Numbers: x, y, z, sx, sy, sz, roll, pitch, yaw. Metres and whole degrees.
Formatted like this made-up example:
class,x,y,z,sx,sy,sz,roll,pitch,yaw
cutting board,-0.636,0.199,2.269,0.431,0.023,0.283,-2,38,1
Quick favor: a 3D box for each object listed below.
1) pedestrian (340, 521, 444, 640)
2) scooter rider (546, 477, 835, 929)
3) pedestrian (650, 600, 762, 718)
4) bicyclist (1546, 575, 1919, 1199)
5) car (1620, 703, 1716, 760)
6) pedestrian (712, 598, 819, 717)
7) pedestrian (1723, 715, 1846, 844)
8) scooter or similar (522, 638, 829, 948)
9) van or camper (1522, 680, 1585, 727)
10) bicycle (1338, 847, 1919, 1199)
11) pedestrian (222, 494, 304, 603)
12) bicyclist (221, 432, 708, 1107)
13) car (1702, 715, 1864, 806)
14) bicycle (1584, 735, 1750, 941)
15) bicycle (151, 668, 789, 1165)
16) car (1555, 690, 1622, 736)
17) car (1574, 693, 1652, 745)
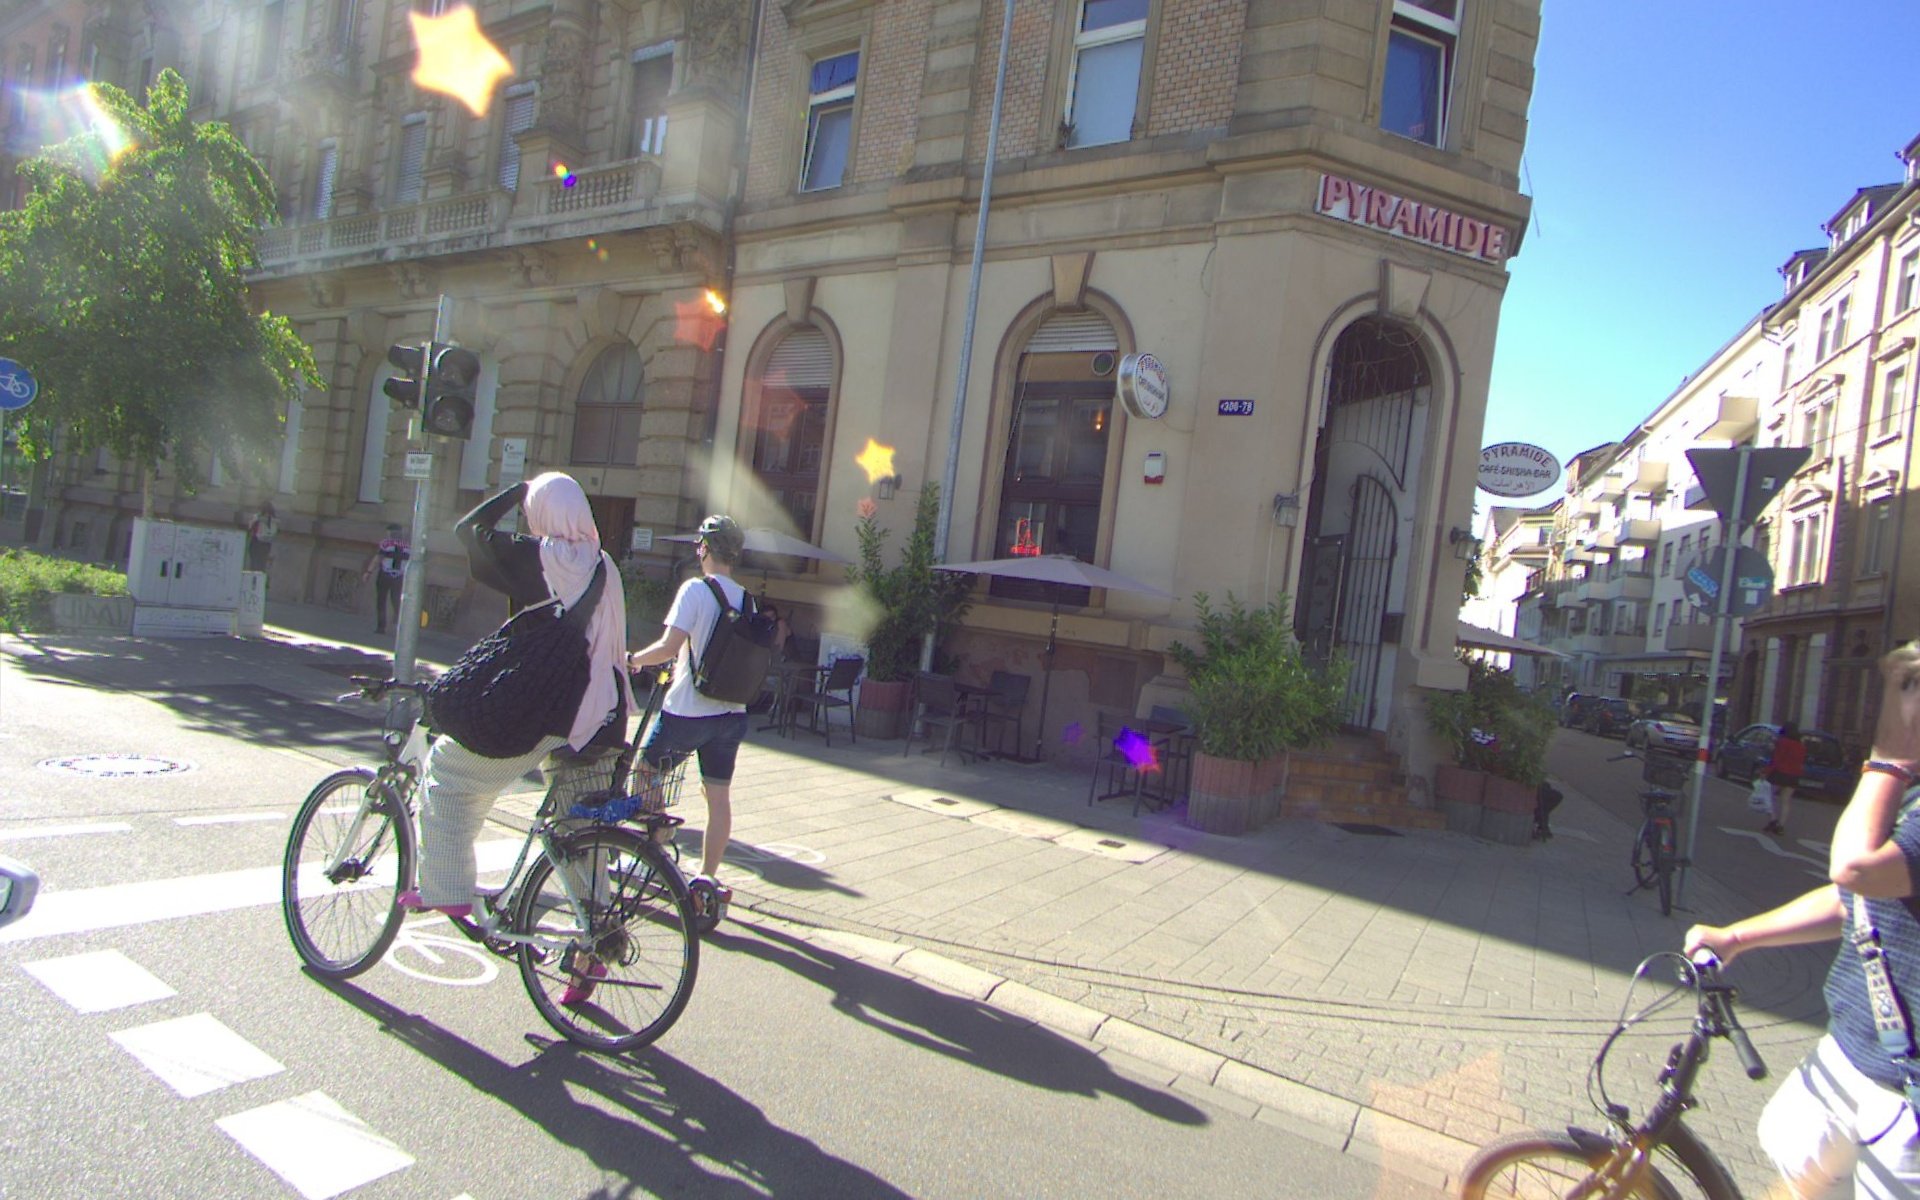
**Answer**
class,x,y,z,sx,sy,sz,roll,pitch,yaw
pedestrian,-8.854,-0.303,15.690,1.097,1.714,0.968,7,2,39
scooter rider,-1.265,0.443,4.776,0.882,1.888,0.663,7,-1,27
pedestrian,-2.854,0.662,11.326,0.867,1.197,0.718,6,0,31
bicyclist,1.907,0.909,2.155,0.972,1.747,0.853,7,-1,32
car,21.464,3.953,30.604,1.600,1.337,3.389,7,-1,24
pedestrian,-2.336,0.689,12.100,0.873,1.298,0.726,6,0,31
pedestrian,11.587,2.503,14.173,0.891,1.592,0.835,7,-1,4
scooter or similar,-1.346,0.851,4.784,1.130,1.172,0.647,7,-1,26
van or camper,30.231,5.218,51.378,1.850,1.867,4.545,9,1,22
bicycle,1.897,1.291,2.113,1.920,1.018,0.829,7,-1,32
pedestrian,-13.387,-0.983,19.315,1.081,1.945,0.889,7,2,37
bicyclist,-1.621,0.465,3.351,1.071,1.839,0.726,7,-1,23
car,18.391,3.529,22.687,1.587,1.428,3.703,7,-1,21
bicycle,5.776,1.820,8.176,0.804,1.247,2.211,11,2,38
bicycle,-1.638,0.879,3.331,1.917,1.018,0.726,7,-1,24
car,25.892,4.626,41.563,1.599,1.424,3.439,9,1,22
car,23.865,4.302,36.878,1.599,1.424,3.439,9,1,22
